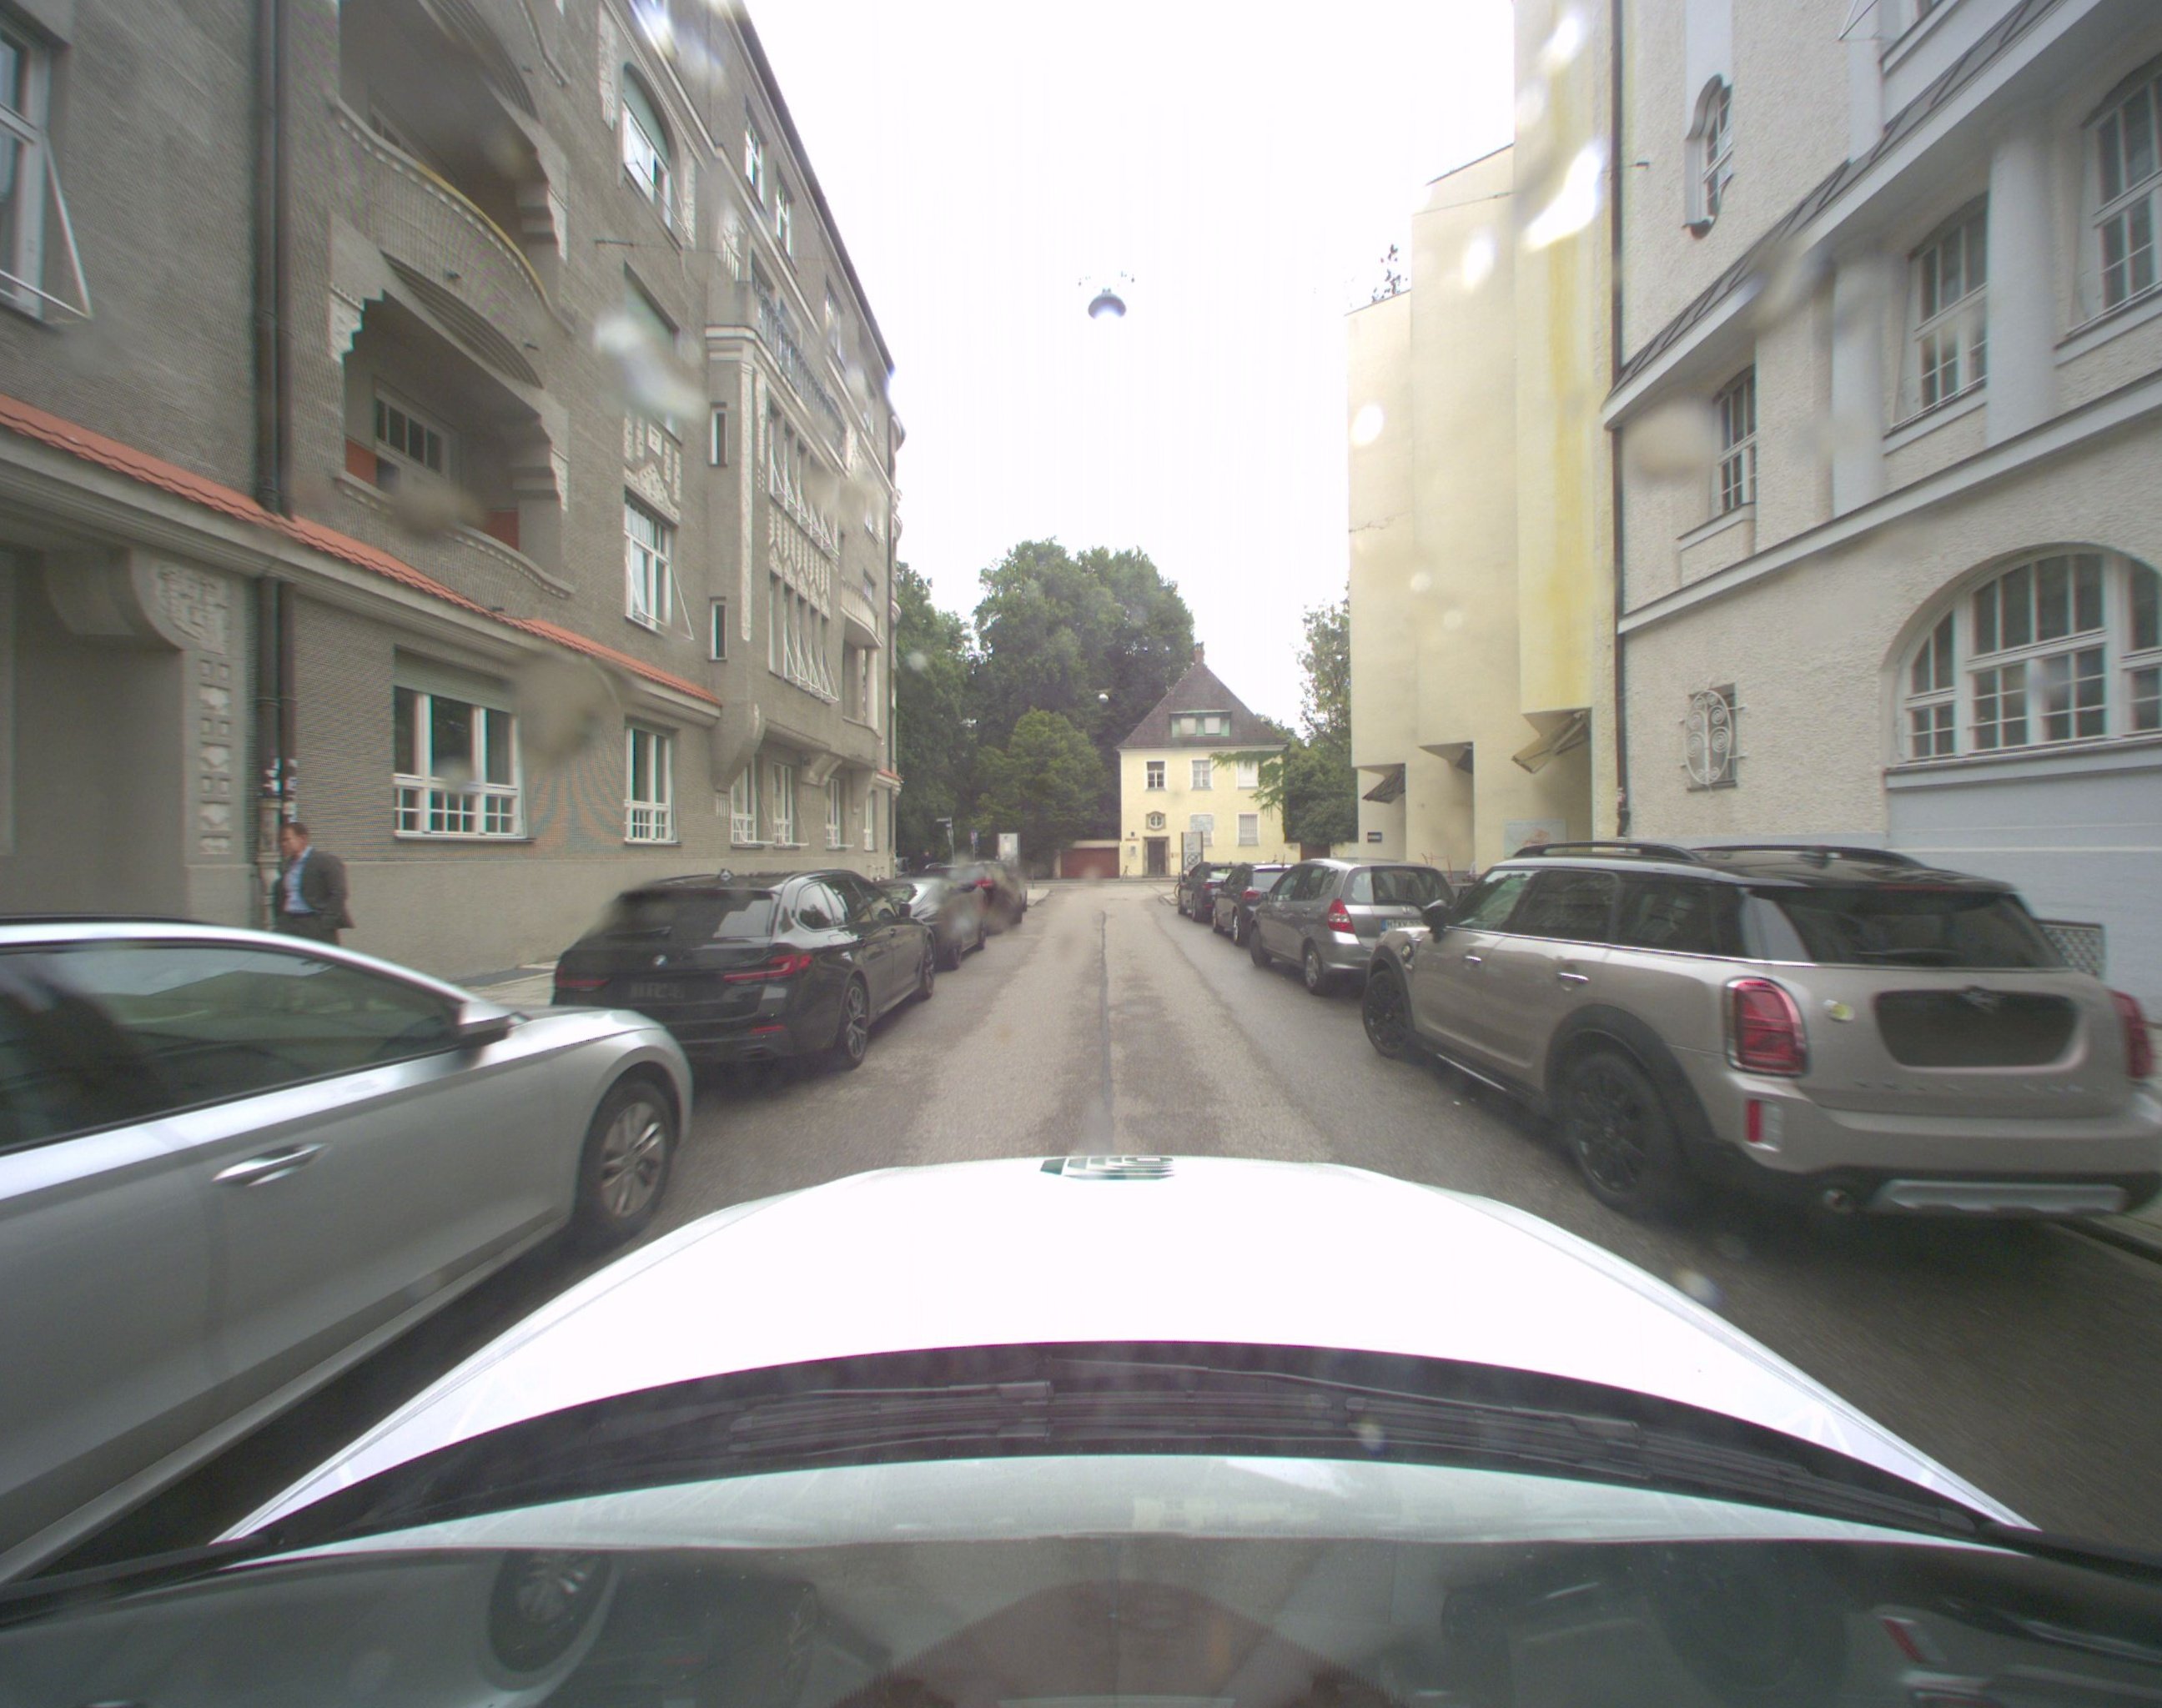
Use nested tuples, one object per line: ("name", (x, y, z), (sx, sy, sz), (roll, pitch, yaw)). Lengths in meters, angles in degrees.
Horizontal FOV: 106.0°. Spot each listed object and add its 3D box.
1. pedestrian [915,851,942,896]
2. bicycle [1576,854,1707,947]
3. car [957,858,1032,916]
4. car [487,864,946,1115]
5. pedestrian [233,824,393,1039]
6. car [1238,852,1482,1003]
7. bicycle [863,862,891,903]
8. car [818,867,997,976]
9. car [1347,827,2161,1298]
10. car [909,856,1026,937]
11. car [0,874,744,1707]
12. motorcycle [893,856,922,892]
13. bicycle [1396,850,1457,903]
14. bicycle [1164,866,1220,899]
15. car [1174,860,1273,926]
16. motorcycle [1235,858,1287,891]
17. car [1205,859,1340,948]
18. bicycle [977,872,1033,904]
("pedestrian", (-6.135, 0.770, 32.848), (0.835, 1.787, 0.937), (0, 0, 4))
("bicycle", (7.874, 0.608, 11.535), (0.562, 1.192, 1.675), (-3, 0, -4))
("car", (-2.404, 0.905, 23.297), (1.697, 1.515, 2.913), (-1, 0, 2))
("car", (-2.629, 0.857, 7.388), (1.987, 1.448, 4.778), (-1, 0, 0))
("pedestrian", (-6.798, 0.655, 7.249), (0.714, 1.817, 0.730), (0, 0, 0))
("car", (3.260, 0.758, 10.325), (1.630, 1.537, 3.851), (0, 0, -3))
("bicycle", (-6.965, 0.961, 27.894), (0.617, 1.349, 1.673), (0, 0, -3))
("car", (-2.501, 0.922, 12.762), (1.748, 1.331, 4.099), (-1, 0, 2))
("car", (3.053, 0.711, 4.778), (1.629, 1.592, 3.966), (0, 0, -1))
("car", (-2.363, 0.832, 18.165), (1.748, 1.515, 4.710), (-1, 0, 2))
("car", (-2.765, 0.858, 2.001), (1.798, 1.431, 4.442), (-2, 0, 3))
("motorcycle", (-7.251, 0.799, 34.051), (0.733, 1.441, 2.146), (0, 0, 0))
("bicycle", (7.311, 0.460, 17.196), (0.743, 1.032, 1.811), (-3, 0, 36))
("bicycle", (3.856, 1.008, 28.278), (1.774, 1.085, 0.670), (-2, 1, 28))
("car", (3.512, 0.910, 20.857), (1.687, 1.471, 4.609), (0, 0, -1))
("motorcycle", (7.707, 0.863, 34.920), (2.086, 1.356, 0.811), (0, 0, -22))
("car", (3.489, 0.838, 15.524), (1.629, 1.471, 3.854), (0, 0, -1))
("bicycle", (-2.527, 1.118, 27.062), (1.796, 1.015, 0.540), (0, 0, 0))
